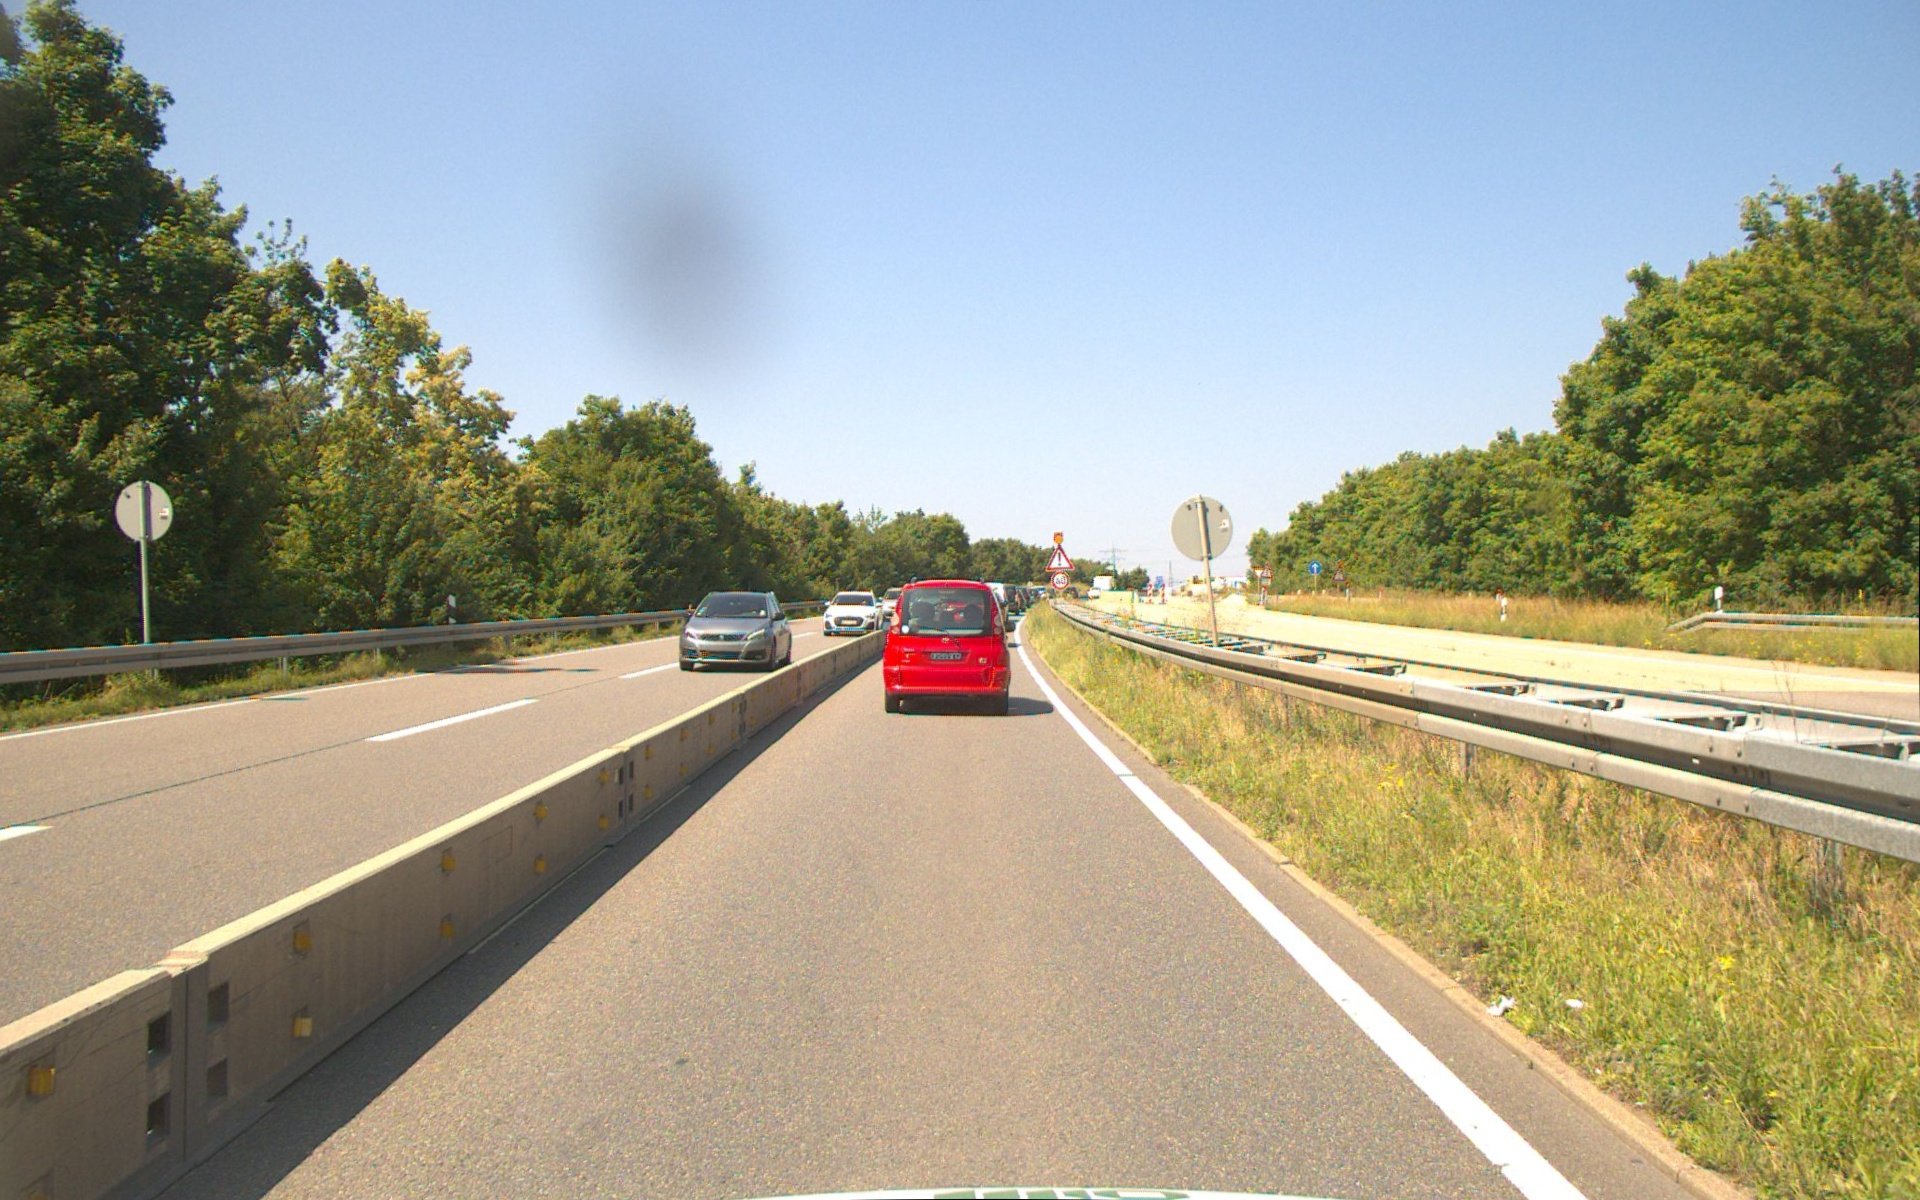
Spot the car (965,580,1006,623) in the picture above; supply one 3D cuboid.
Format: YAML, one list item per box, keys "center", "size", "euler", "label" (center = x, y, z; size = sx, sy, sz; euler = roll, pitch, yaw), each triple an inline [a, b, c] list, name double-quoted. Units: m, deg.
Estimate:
- center: [1.253, 0.076, 81.405]
  size: [1.952, 2.038, 4.000]
  euler: [0, 0, 1]
  label: "car"

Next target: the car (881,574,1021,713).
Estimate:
- center: [-0.146, 0.524, 22.401]
  size: [1.716, 1.702, 3.999]
  euler: [0, 0, -1]
  label: "car"

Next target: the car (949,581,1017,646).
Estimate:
- center: [0.610, 0.353, 46.974]
  size: [1.793, 1.752, 3.999]
  euler: [0, 0, -1]
  label: "car"

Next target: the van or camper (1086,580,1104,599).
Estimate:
- center: [19.170, -1.465, 235.620]
  size: [2.280, 2.754, 4.594]
  euler: [0, 0, 1]
  label: "van or camper"

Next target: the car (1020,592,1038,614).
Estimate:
- center: [5.744, 0.240, 137.451]
  size: [1.470, 1.767, 3.171]
  euler: [1, 0, 4]
  label: "car"

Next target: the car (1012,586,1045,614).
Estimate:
- center: [4.503, 0.008, 109.253]
  size: [1.953, 1.814, 3.999]
  euler: [0, 0, -1]
  label: "car"

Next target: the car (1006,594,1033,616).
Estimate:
- center: [4.476, 0.337, 124.040]
  size: [1.952, 1.612, 4.000]
  euler: [0, 0, 1]
  label: "car"

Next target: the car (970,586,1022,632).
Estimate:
- center: [1.473, 0.360, 68.730]
  size: [1.953, 1.870, 3.999]
  euler: [0, 0, -2]
  label: "car"

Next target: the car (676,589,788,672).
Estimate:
- center: [-4.371, 0.557, 32.285]
  size: [1.690, 1.522, 4.387]
  euler: [0, 0, -2]
  label: "car"

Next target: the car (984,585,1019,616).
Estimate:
- center: [2.407, 0.003, 97.134]
  size: [1.953, 1.780, 4.000]
  euler: [0, 0, 0]
  label: "car"

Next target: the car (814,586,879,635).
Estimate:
- center: [-3.770, 0.324, 55.471]
  size: [1.909, 1.565, 4.435]
  euler: [0, 0, -1]
  label: "car"

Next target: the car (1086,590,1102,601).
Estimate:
- center: [18.099, -0.622, 223.277]
  size: [1.952, 1.512, 4.001]
  euler: [0, 0, 2]
  label: "car"

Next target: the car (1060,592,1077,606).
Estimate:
- center: [12.394, -0.074, 189.232]
  size: [1.952, 1.579, 4.002]
  euler: [1, 0, 3]
  label: "car"

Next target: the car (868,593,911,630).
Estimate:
- center: [-3.195, 0.507, 75.599]
  size: [1.791, 1.658, 3.784]
  euler: [0, 0, 0]
  label: "car"
